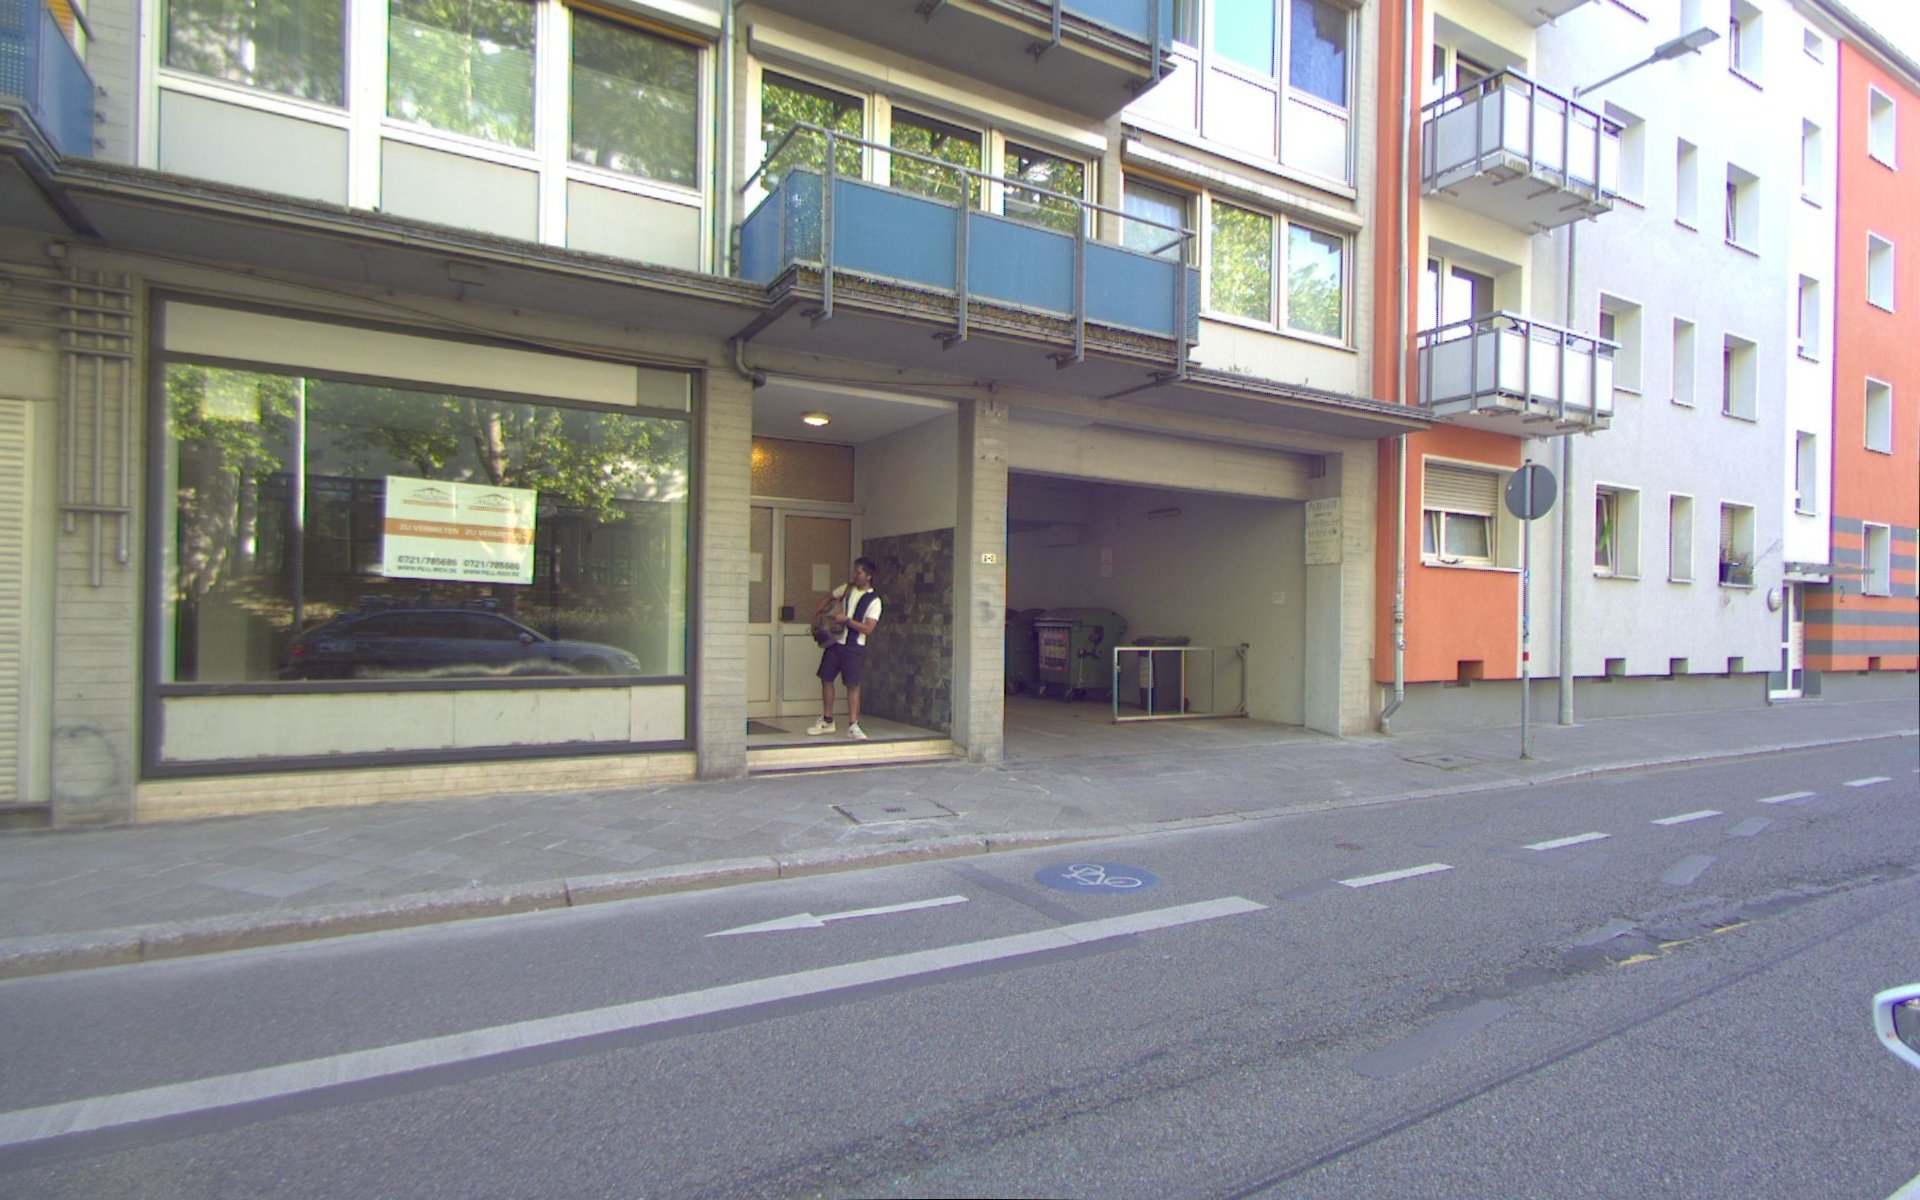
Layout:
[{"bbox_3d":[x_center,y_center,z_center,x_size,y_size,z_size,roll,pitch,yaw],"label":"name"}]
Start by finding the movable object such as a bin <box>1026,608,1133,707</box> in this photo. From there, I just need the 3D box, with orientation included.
[{"bbox_3d":[1.868,0.878,15.817,1.120,1.444,1.268,2,0,-28],"label":"movable object such as a bin"}]

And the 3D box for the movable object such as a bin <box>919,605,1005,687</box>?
[{"bbox_3d":[0.023,0.836,18.702,1.120,1.444,1.268,2,0,-28],"label":"movable object such as a bin"}]

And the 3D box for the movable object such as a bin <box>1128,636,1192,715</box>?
[{"bbox_3d":[2.880,1.077,14.493,0.713,1.094,0.533,2,0,-29],"label":"movable object such as a bin"}]

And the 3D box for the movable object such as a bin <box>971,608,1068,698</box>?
[{"bbox_3d":[1.001,0.878,17.158,1.120,1.444,1.268,2,0,-28],"label":"movable object such as a bin"}]

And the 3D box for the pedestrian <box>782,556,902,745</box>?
[{"bbox_3d":[-1.072,0.443,9.284,0.777,1.639,0.837,2,0,18],"label":"pedestrian"}]

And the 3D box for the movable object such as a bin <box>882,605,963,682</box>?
[{"bbox_3d":[-0.748,0.839,19.793,1.120,1.444,1.268,2,0,-28],"label":"movable object such as a bin"}]
